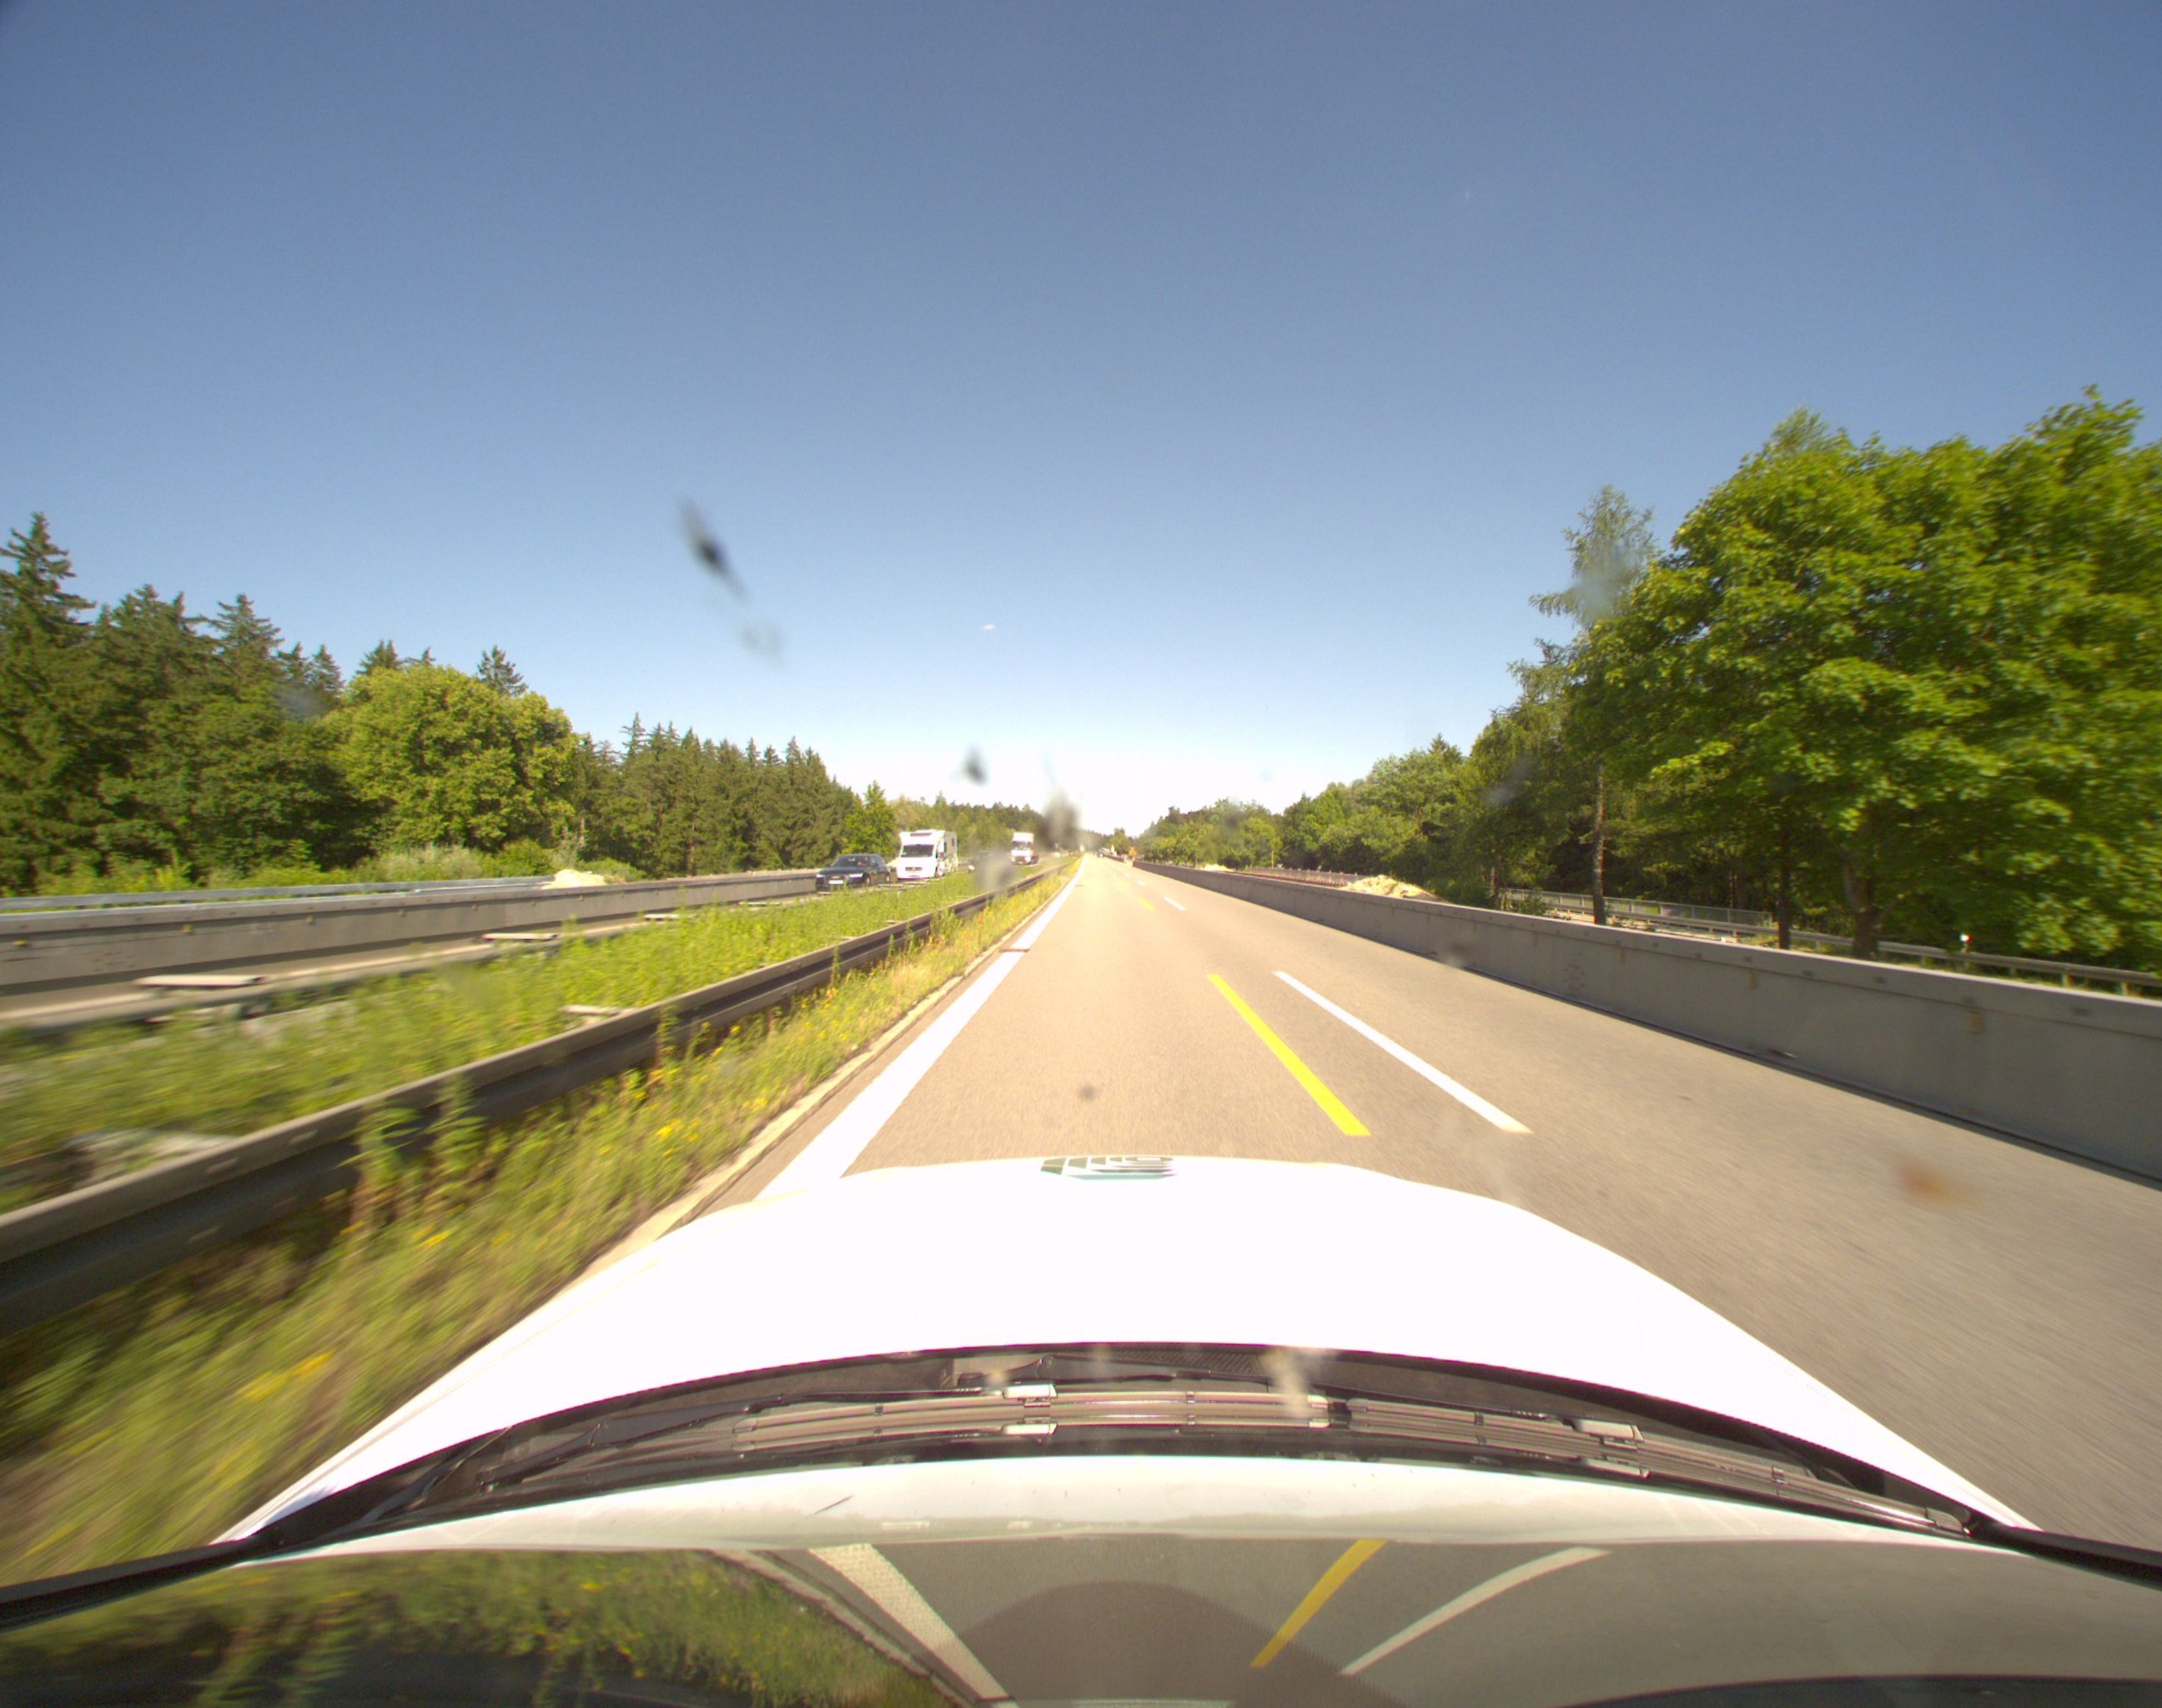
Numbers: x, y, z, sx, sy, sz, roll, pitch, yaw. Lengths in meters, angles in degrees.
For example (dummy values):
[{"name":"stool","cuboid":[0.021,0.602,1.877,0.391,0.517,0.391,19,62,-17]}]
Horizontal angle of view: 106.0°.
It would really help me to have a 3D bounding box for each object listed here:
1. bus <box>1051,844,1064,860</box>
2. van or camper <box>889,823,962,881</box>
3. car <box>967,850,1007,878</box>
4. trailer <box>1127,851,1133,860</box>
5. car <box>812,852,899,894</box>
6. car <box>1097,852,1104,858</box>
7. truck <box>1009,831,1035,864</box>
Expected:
[{"name":"bus","cuboid":[-5.788,-0.538,202.457,2.872,3.670,12.915,1,0,0]},{"name":"van or camper","cuboid":[-8.547,-0.090,45.521,2.397,2.950,7.525,0,0,2]},{"name":"car","cuboid":[-5.543,0.553,48.415,1.735,1.530,4.002,-2,0,2]},{"name":"trailer","cuboid":[11.378,0.361,189.444,1.122,1.873,3.997,1,0,-2]},{"name":"car","cuboid":[-8.656,0.681,31.750,1.735,1.432,5.236,-3,0,1]},{"name":"car","cuboid":[5.254,0.325,221.219,1.738,1.466,4.294,1,0,0]},{"name":"truck","cuboid":[-7.459,-0.776,103.688,2.761,4.088,5.475,-1,0,1]}]
